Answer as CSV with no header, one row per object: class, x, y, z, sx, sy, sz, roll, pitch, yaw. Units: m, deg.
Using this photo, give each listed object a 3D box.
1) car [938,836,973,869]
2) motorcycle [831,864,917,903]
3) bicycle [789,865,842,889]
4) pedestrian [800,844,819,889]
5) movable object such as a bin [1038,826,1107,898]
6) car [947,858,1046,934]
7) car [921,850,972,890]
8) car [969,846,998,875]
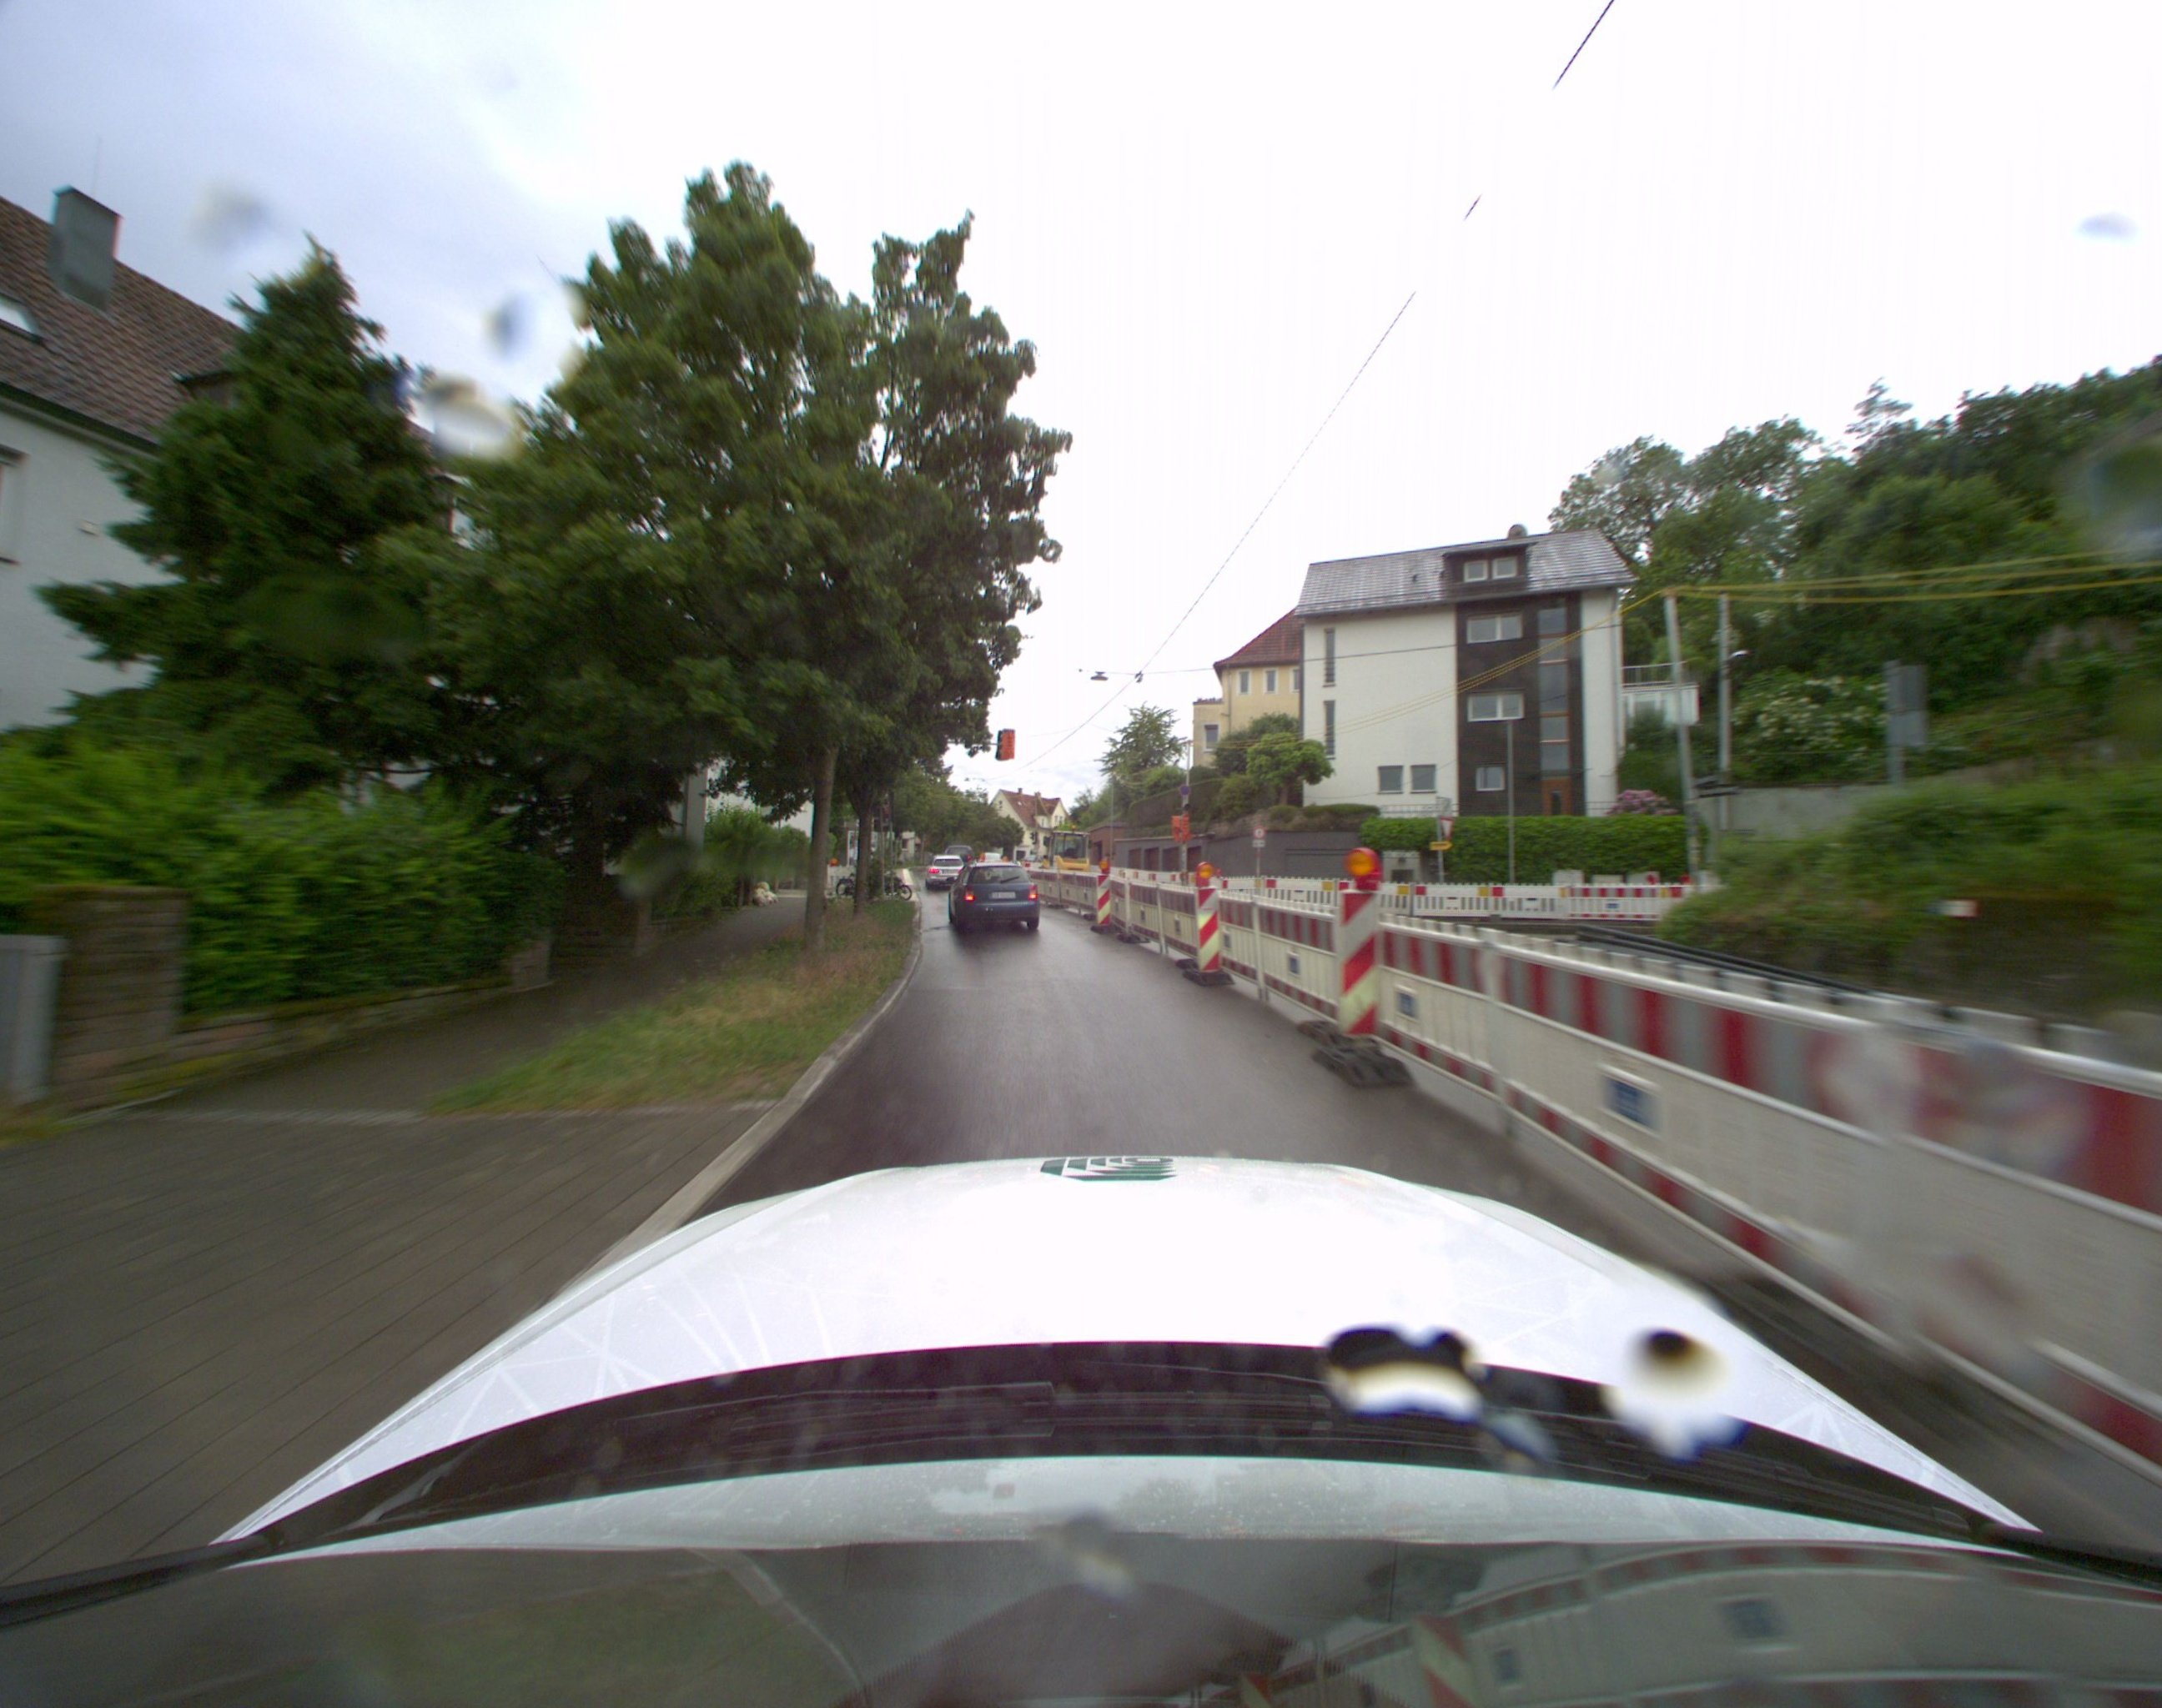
car,-7.824,-0.055,50.711,1.993,1.794,3.986,-2,-3,-10
motorcycle,-6.629,0.942,26.237,2.599,1.234,0.886,1,-2,-12
bicycle,-11.677,1.004,35.877,2.149,1.003,0.633,-1,-2,-14
pedestrian,-12.107,0.557,36.352,0.733,1.944,0.463,-1,-2,-14
movable object such as a bin,-0.407,0.250,32.159,1.994,2.613,3.985,-1,1,-11
car,-2.001,0.888,18.205,1.787,1.442,3.947,-2,-1,-12
car,-6.060,0.743,36.314,1.928,1.618,4.300,-1,-2,-13
car,-7.286,0.528,61.194,1.991,2.014,3.992,-1,-1,-5
